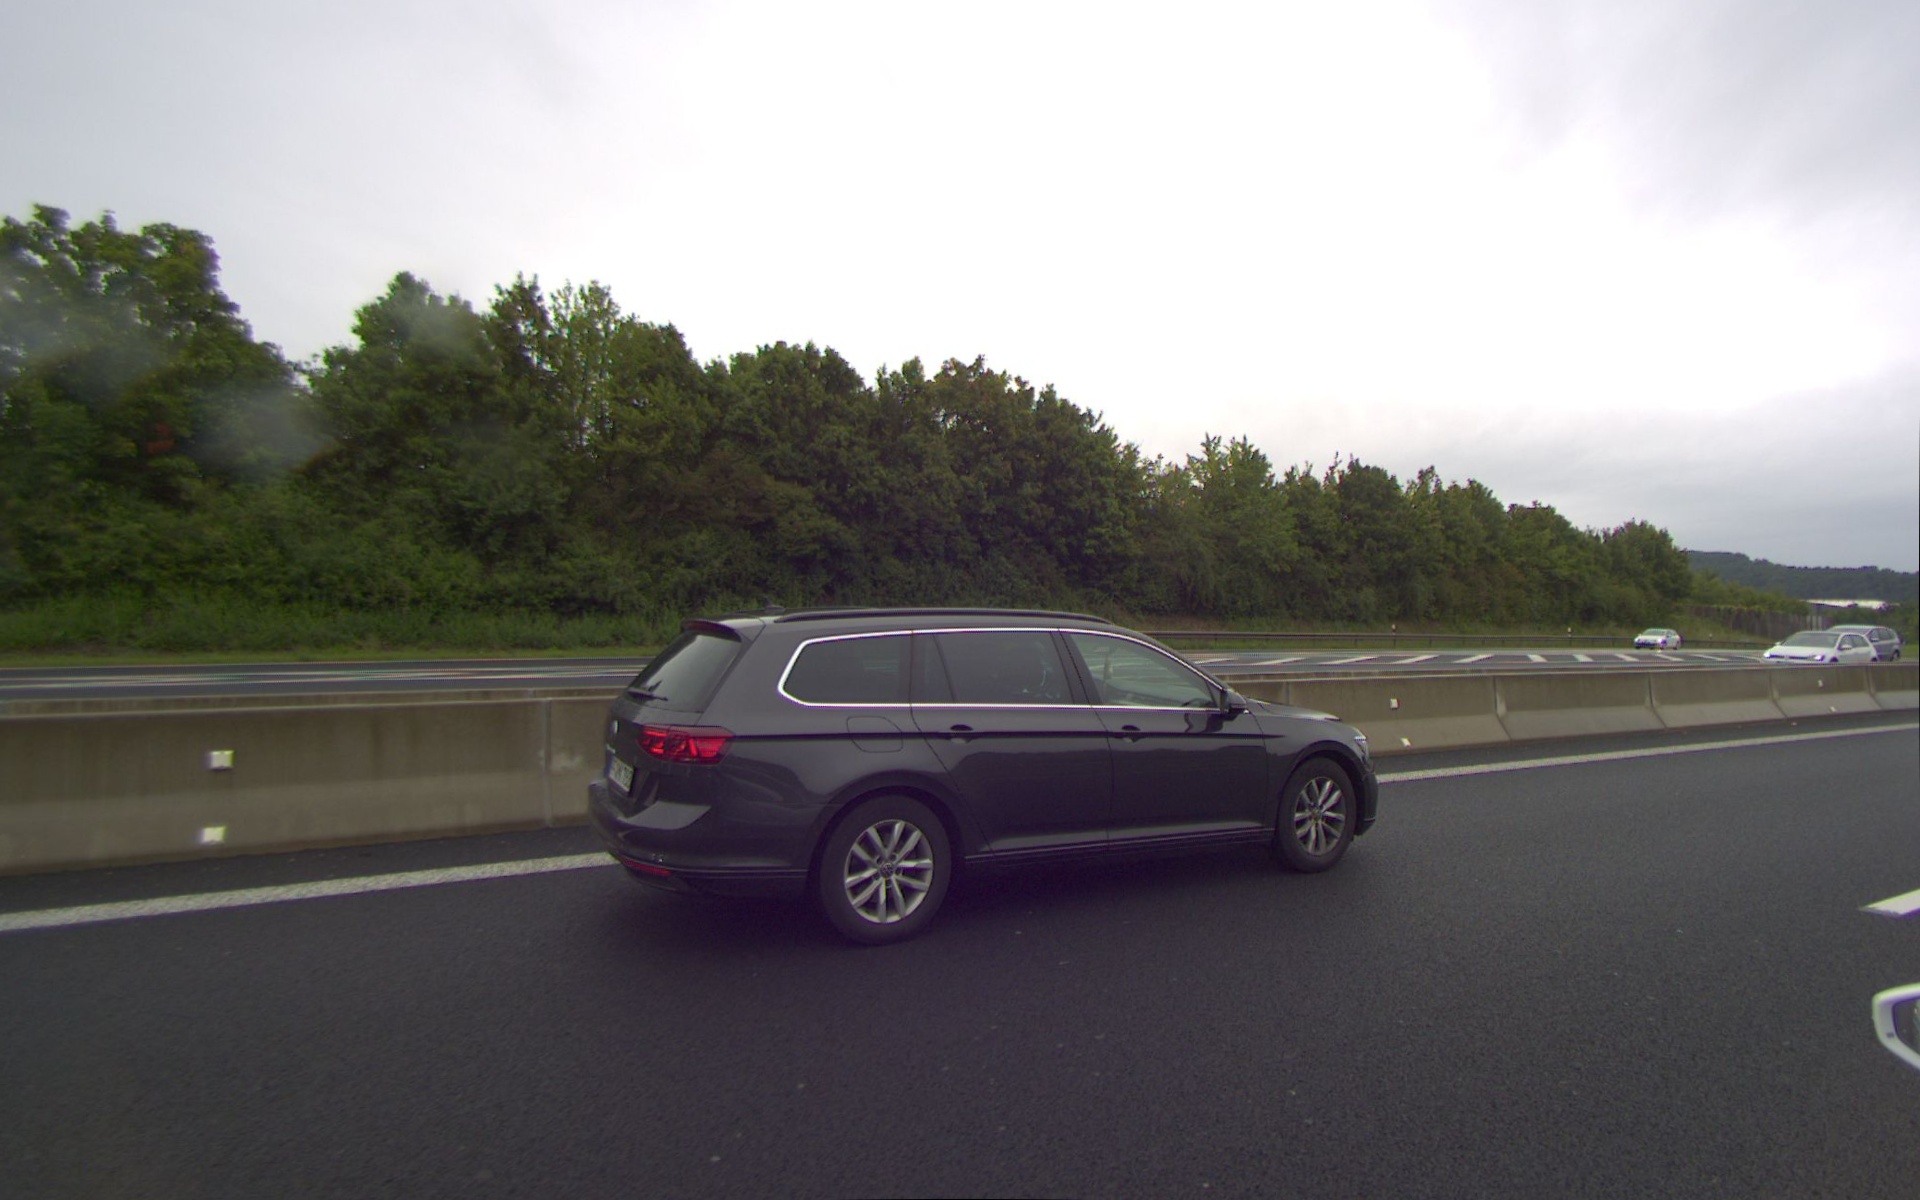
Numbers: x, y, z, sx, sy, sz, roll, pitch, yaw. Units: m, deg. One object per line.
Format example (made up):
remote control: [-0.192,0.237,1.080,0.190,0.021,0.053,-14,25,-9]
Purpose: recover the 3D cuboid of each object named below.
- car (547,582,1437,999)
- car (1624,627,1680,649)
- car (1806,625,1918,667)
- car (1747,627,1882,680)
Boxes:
car: [0.360,0.742,5.700,4.795,1.517,1.891,1,-1,-31]
car: [49.278,2.684,71.511,4.350,1.449,2.163,2,-1,-39]
car: [38.379,1.923,42.734,4.480,1.656,2.171,1,-1,-28]
car: [26.989,1.641,31.702,4.090,1.526,1.974,1,-1,-30]
